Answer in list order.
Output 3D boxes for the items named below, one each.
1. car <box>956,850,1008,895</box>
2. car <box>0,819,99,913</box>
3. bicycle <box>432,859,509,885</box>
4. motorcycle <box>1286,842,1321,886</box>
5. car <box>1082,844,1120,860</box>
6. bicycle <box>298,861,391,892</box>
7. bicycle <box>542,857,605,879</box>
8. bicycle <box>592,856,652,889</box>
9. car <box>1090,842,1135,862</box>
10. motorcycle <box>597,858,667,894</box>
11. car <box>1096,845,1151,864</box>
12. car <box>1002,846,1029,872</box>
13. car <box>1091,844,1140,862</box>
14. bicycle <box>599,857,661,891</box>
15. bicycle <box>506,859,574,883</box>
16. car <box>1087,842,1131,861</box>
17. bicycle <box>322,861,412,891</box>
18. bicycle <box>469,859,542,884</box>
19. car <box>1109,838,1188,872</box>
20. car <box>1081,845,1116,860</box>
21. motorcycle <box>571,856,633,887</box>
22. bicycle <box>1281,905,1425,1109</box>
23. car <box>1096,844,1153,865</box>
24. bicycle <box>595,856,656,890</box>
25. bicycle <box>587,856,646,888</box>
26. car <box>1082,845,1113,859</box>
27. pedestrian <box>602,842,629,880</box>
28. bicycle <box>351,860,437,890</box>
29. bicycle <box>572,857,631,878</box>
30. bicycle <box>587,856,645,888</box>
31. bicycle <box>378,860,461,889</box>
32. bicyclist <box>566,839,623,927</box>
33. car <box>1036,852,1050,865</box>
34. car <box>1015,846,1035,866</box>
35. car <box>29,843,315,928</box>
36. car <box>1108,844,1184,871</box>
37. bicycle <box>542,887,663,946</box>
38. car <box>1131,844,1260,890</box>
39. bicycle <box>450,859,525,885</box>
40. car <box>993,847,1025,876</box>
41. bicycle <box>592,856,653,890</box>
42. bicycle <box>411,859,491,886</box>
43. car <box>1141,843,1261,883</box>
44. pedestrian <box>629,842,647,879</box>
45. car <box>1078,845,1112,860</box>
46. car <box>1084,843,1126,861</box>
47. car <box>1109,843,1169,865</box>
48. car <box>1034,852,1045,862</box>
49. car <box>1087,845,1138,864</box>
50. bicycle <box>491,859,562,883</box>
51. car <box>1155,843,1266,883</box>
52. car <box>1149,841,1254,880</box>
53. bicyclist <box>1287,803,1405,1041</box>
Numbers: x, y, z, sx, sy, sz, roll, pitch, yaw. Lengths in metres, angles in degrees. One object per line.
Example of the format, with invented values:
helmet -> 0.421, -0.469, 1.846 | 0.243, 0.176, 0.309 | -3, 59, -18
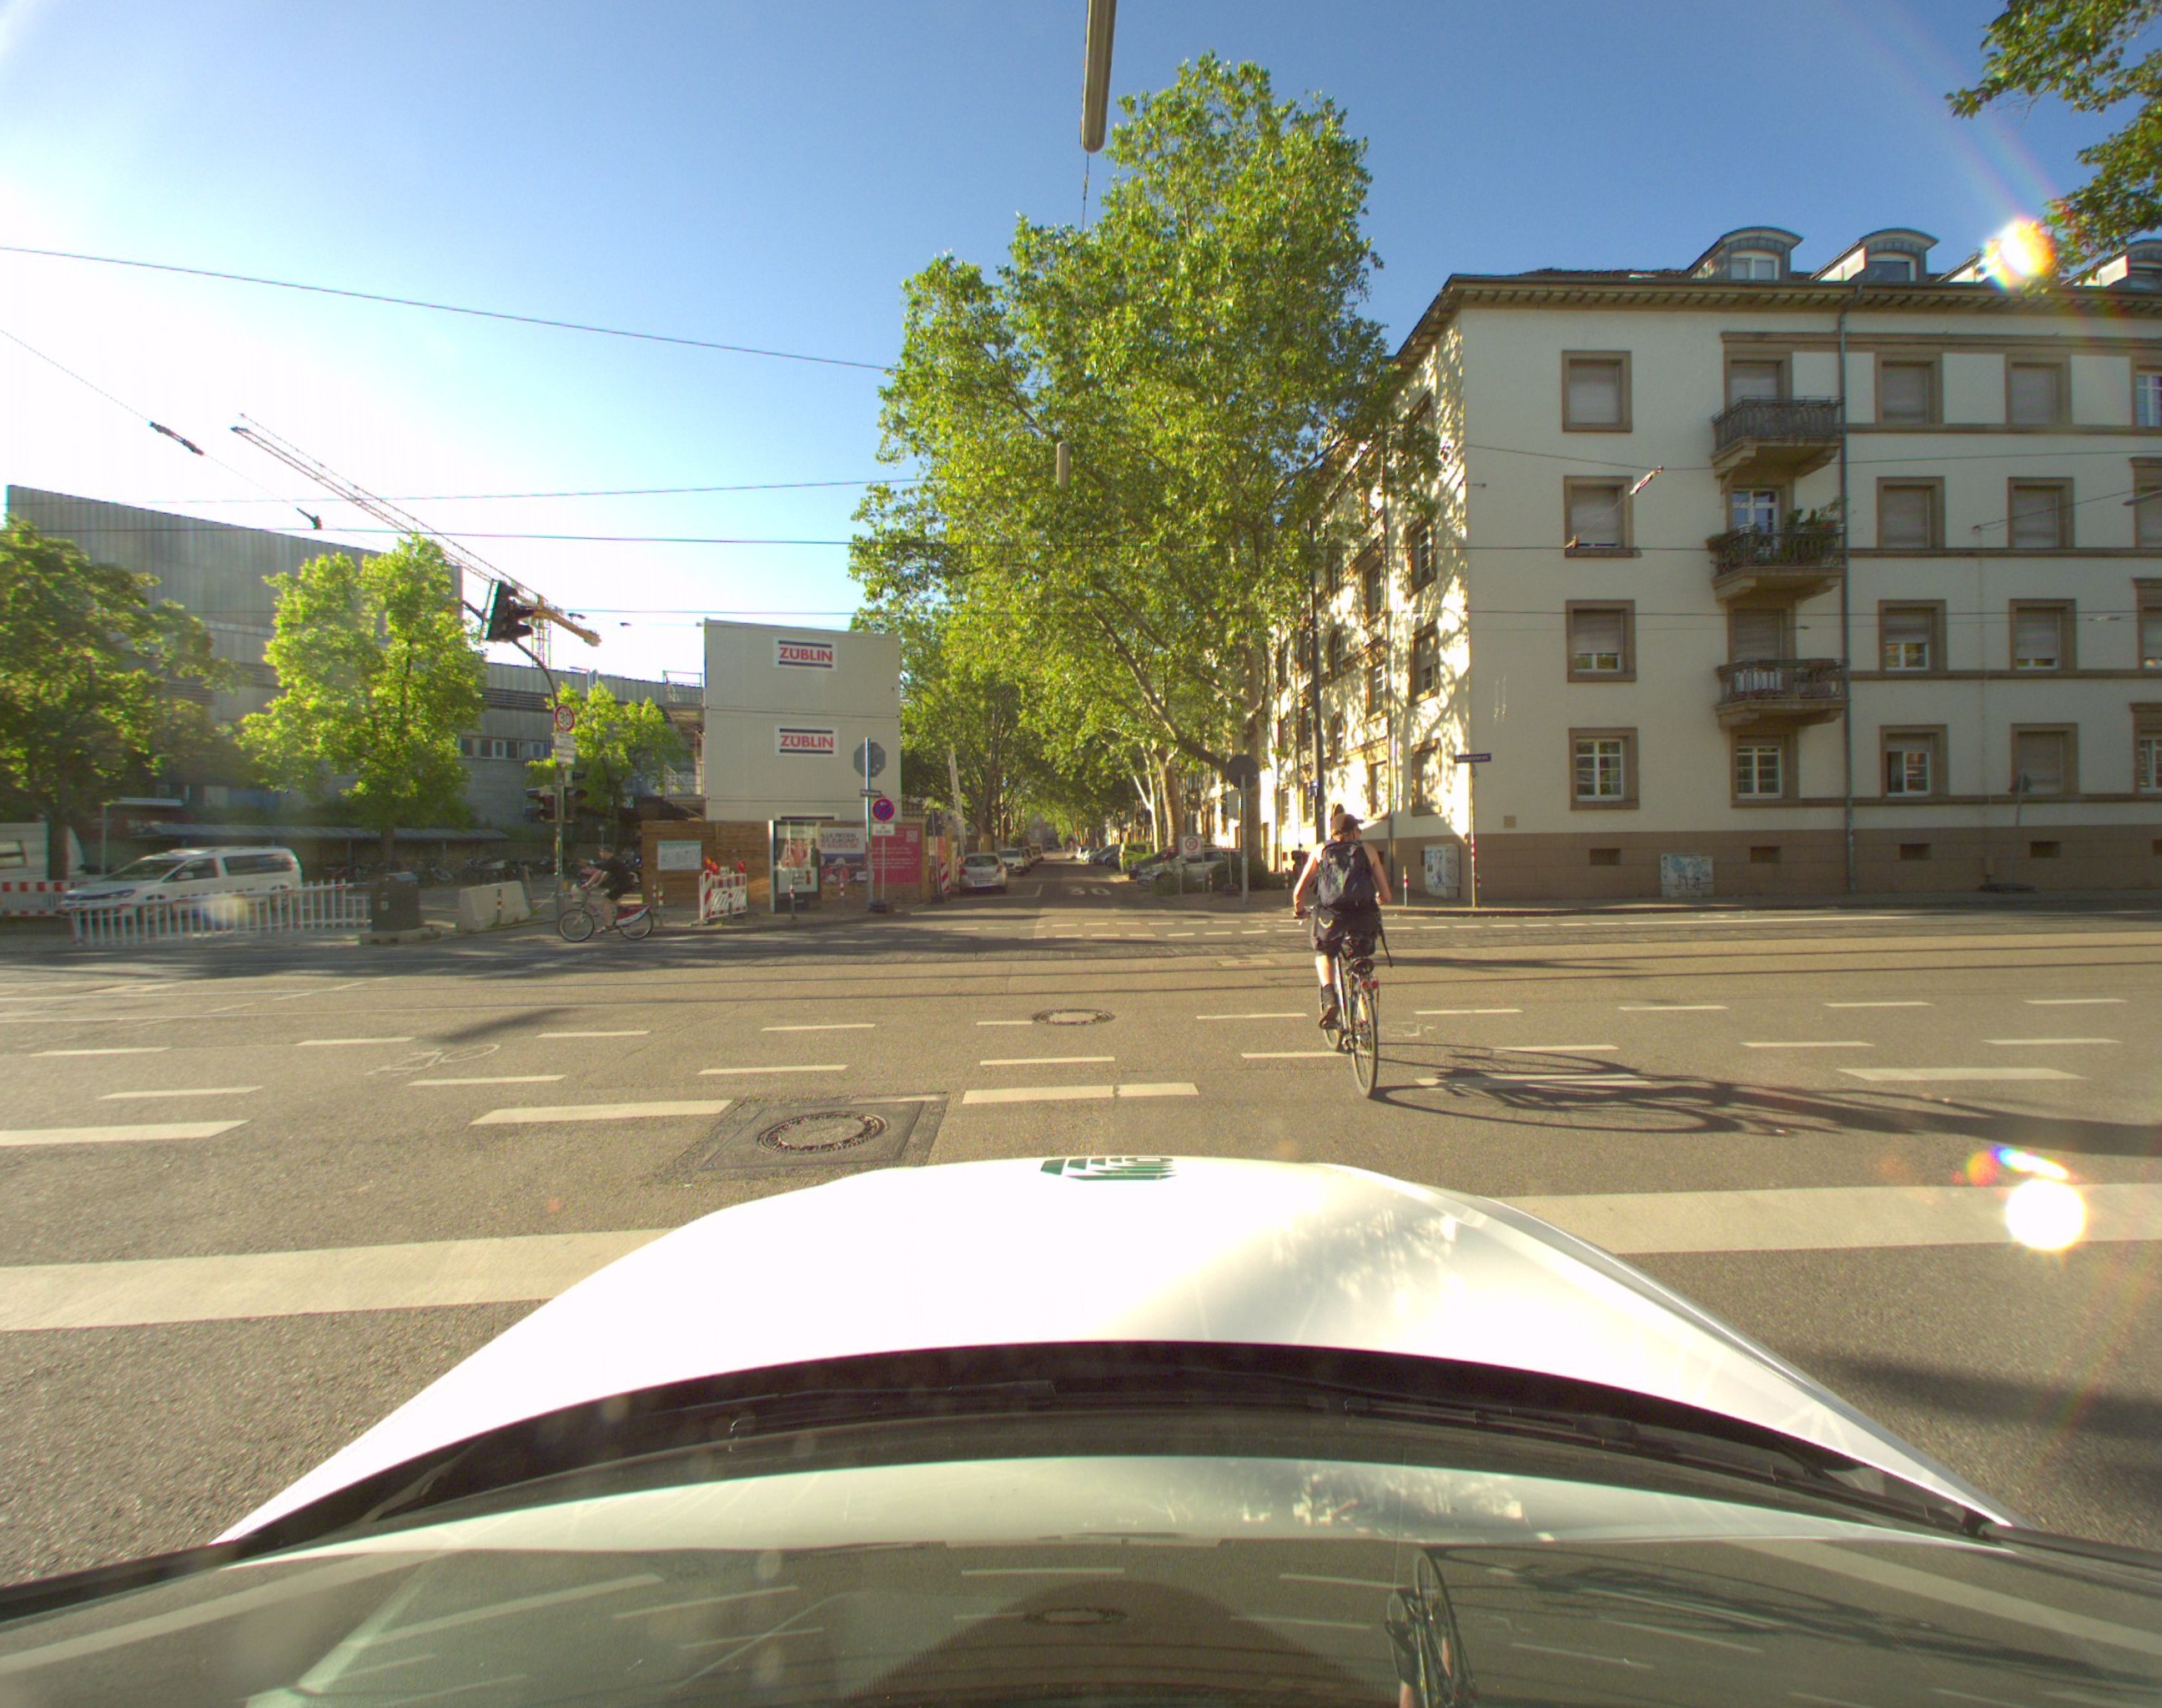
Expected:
car -> -3.639, 0.635, 30.532 | 1.640, 1.494, 3.995 | -3, 1, -4
car -> -30.432, 0.392, 21.743 | 1.990, 2.530, 5.374 | -1, 4, -5
bicycle -> -28.031, 0.830, 37.412 | 3.063, 1.147, 0.823 | -1, 1, 6
motorcycle -> 7.070, 0.300, 25.973 | 0.513, 1.332, 1.761 | -1, 1, -4
car -> 2.455, -0.272, 98.935 | 4.452, 1.898, 1.726 | -1, 0, -4
bicycle -> -28.567, 0.866, 31.606 | 3.063, 1.147, 0.823 | -1, 1, 6
bicycle -> -28.011, 0.765, 44.929 | 3.063, 1.147, 0.823 | -1, 1, 6
bicycle -> -18.743, 0.743, 33.304 | 2.060, 1.257, 0.537 | -2, 1, -40
car -> 3.202, -0.216, 83.381 | 4.452, 1.898, 1.726 | -1, 0, -4
motorcycle -> -16.943, 0.810, 30.768 | 2.223, 1.257, 0.537 | -2, 1, -40
car -> 3.569, 0.033, 68.987 | 4.452, 1.571, 1.726 | -1, 0, -4
car -> -4.160, 0.266, 52.262 | 1.662, 1.562, 4.513 | -1, 0, -4
car -> 3.171, -0.122, 76.058 | 4.452, 1.571, 1.726 | -1, 0, -4
bicycle -> -17.526, 0.762, 31.688 | 2.060, 1.257, 0.466 | -2, 1, -40
bicycle -> -27.488, 0.849, 41.395 | 3.063, 1.147, 0.823 | -1, 1, 6
car -> 2.933, -0.239, 86.138 | 4.452, 1.898, 1.726 | -1, 0, -4
bicycle -> -28.573, 0.871, 32.603 | 3.063, 1.147, 0.823 | -1, 1, 6
bicycle -> -27.761, 0.839, 39.270 | 3.063, 1.147, 0.823 | -1, 1, 6
car -> 3.951, 0.052, 47.964 | 4.453, 1.836, 1.726 | -1, 0, -4
car -> 2.265, -0.186, 106.359 | 4.452, 1.898, 1.726 | -1, 0, -4
motorcycle -> -20.814, 0.738, 35.413 | 2.223, 1.257, 0.537 | -2, 1, -40
bicycle -> 1.782, 0.926, 5.602 | 0.685, 1.016, 1.913 | 1, 0, 11
car -> 3.518, 0.032, 66.509 | 4.452, 1.571, 1.726 | -1, 0, -4
bicycle -> -18.139, 0.738, 32.441 | 2.060, 1.257, 0.466 | -2, 1, -40
bicycle -> -19.494, 0.757, 34.217 | 2.060, 1.257, 0.537 | -2, 1, -40
car -> 2.387, -0.251, 118.401 | 4.452, 1.898, 1.726 | -1, 0, -4
pedestrian -> -25.267, 0.387, 44.227 | 0.796, 2.013, 0.941 | -1, 1, 8
bicycle -> -28.458, 0.877, 33.750 | 3.063, 1.147, 0.823 | -1, 1, 6
bicycle -> -28.197, 0.780, 47.872 | 3.063, 1.147, 0.823 | -1, 1, 6
bicycle -> -19.818, 0.752, 34.711 | 2.060, 1.257, 0.537 | -2, 1, -40
bicycle -> -28.269, 0.882, 34.815 | 3.063, 1.147, 0.823 | -1, 1, 6
bicyclist -> -9.500, 0.542, 15.919 | 0.812, 1.658, 0.678 | -1, 0, -20
car -> -4.647, 0.502, 99.194 | 1.662, 1.562, 4.213 | -1, 0, -4
car -> -4.728, 0.143, 68.997 | 1.662, 1.562, 4.610 | -1, 0, -4
car -> -24.357, 0.729, 22.216 | 1.996, 1.892, 4.953 | 0, 3, 3
car -> 3.981, 0.201, 49.983 | 4.452, 1.571, 1.726 | -1, 0, -4
bicycle -> -9.343, 1.197, 15.975 | 1.922, 1.018, 0.678 | -1, 0, -21
car -> 4.147, 0.445, 29.997 | 4.452, 1.571, 1.726 | -1, 0, -4
bicycle -> -27.882, 0.834, 38.299 | 3.063, 1.147, 0.823 | -1, 1, 6
car -> -4.084, 0.378, 46.557 | 1.662, 1.562, 3.995 | -1, 0, -4
bicycle -> -18.461, 0.740, 32.832 | 2.060, 1.257, 0.466 | -2, 1, -40
bicycle -> -28.139, 0.825, 36.378 | 3.063, 1.147, 0.823 | -1, 1, 6
car -> 4.737, 0.341, 32.481 | 4.452, 1.500, 1.726 | -1, 0, -4
pedestrian -> -24.366, 0.361, 44.785 | 0.804, 2.013, 1.022 | -1, 1, -26
car -> 1.925, -0.154, 109.392 | 4.452, 1.898, 1.726 | -1, 0, -4
car -> 2.646, -0.245, 88.995 | 4.452, 1.898, 1.726 | -1, 0, -4
car -> 4.486, 0.011, 63.349 | 4.452, 1.571, 1.726 | -1, 0, -4
car -> -6.625, 0.475, 129.630 | 1.662, 1.562, 4.213 | -1, 0, -4
car -> 2.868, 0.033, 73.724 | 4.452, 1.571, 1.726 | -1, 0, -4
bicycle -> -27.546, 0.844, 40.459 | 3.063, 1.147, 0.823 | -1, 1, 6
car -> 5.497, 0.357, 34.885 | 4.452, 1.571, 1.726 | -1, 0, -4
car -> 5.421, 0.281, 36.969 | 4.452, 1.671, 1.726 | -1, 0, -4
bicyclist -> 1.782, 0.429, 5.563 | 0.672, 1.513, 0.670 | 1, 0, 10
